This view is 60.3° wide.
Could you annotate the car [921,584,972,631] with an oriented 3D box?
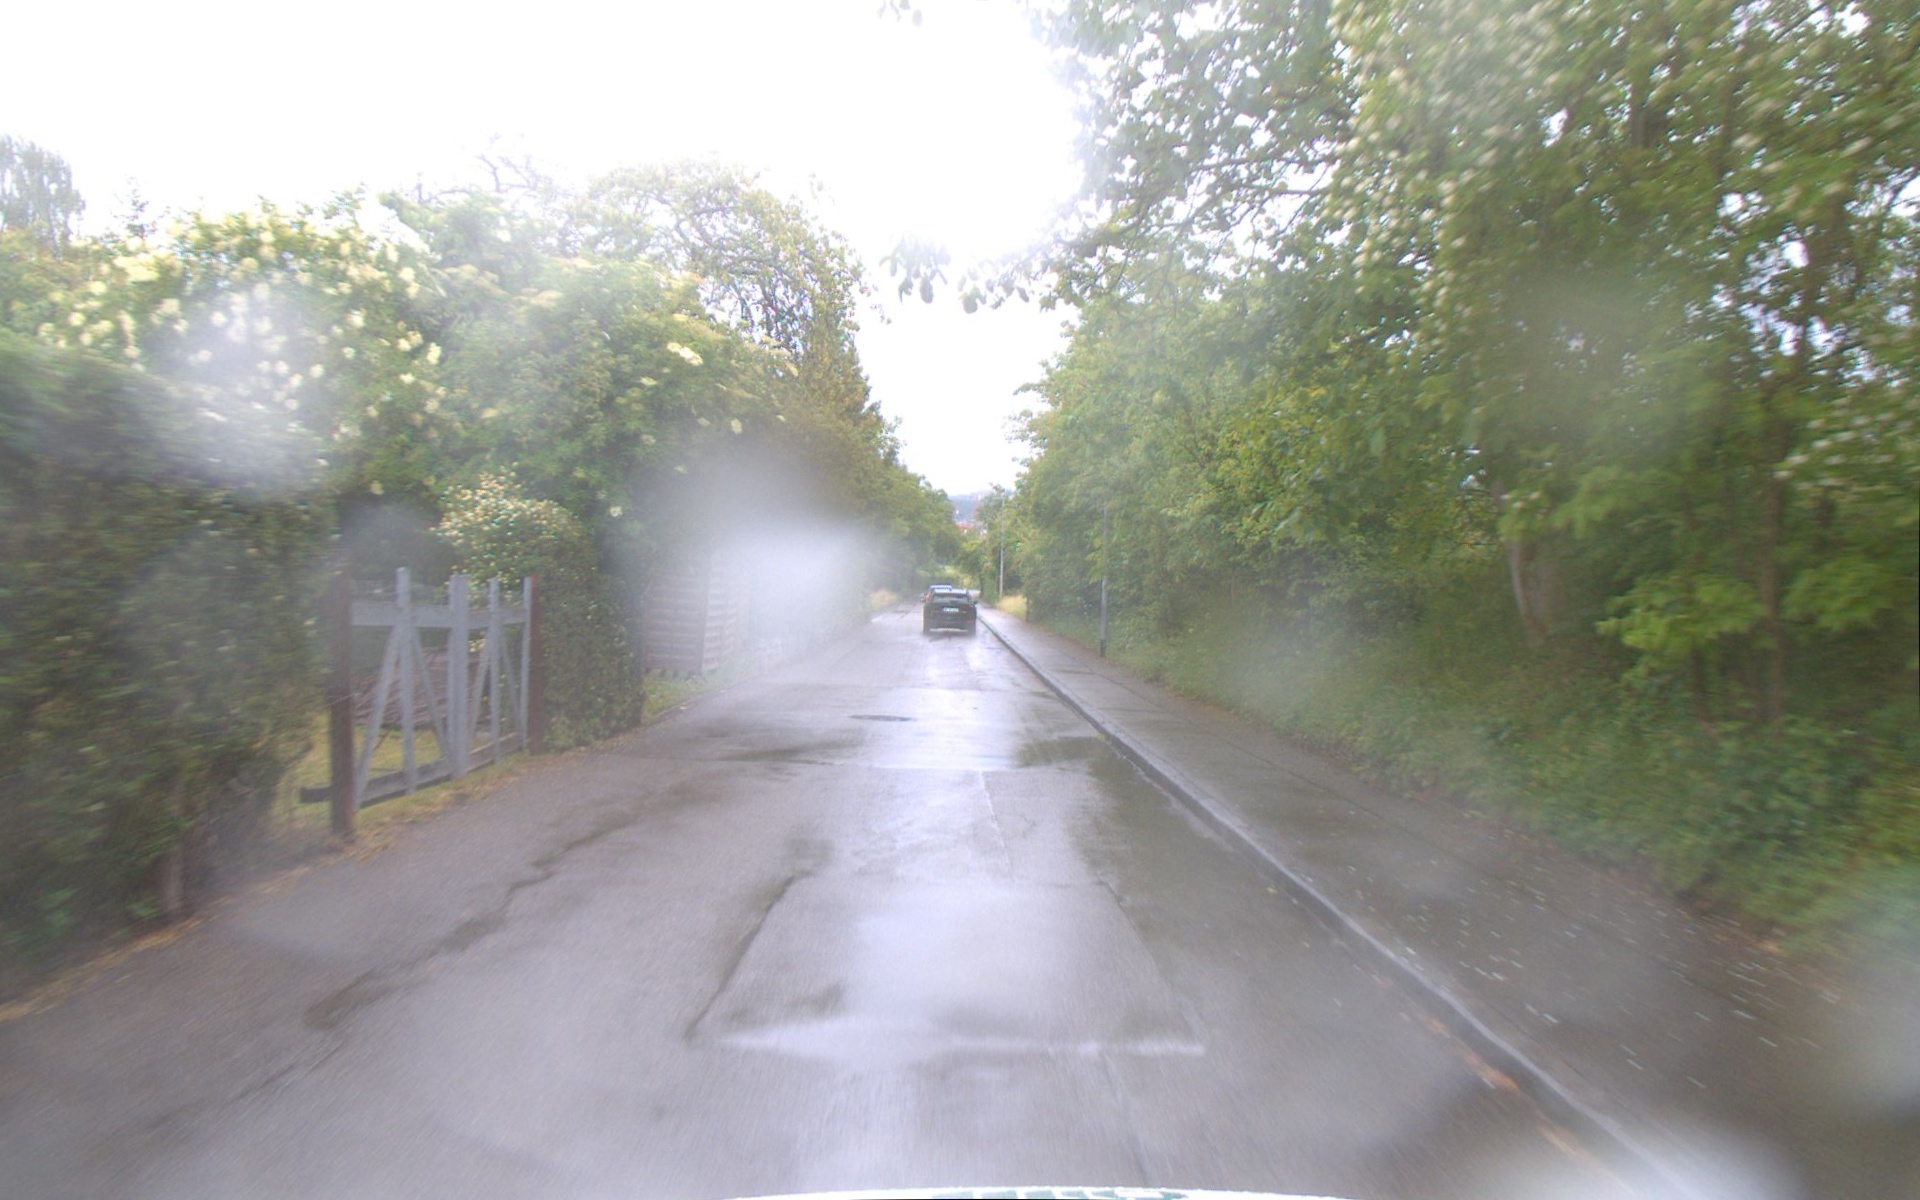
[{"bbox_3d":[-0.404,0.257,54.611,1.601,1.475,3.544,1,-1,0],"label":"car"}]
